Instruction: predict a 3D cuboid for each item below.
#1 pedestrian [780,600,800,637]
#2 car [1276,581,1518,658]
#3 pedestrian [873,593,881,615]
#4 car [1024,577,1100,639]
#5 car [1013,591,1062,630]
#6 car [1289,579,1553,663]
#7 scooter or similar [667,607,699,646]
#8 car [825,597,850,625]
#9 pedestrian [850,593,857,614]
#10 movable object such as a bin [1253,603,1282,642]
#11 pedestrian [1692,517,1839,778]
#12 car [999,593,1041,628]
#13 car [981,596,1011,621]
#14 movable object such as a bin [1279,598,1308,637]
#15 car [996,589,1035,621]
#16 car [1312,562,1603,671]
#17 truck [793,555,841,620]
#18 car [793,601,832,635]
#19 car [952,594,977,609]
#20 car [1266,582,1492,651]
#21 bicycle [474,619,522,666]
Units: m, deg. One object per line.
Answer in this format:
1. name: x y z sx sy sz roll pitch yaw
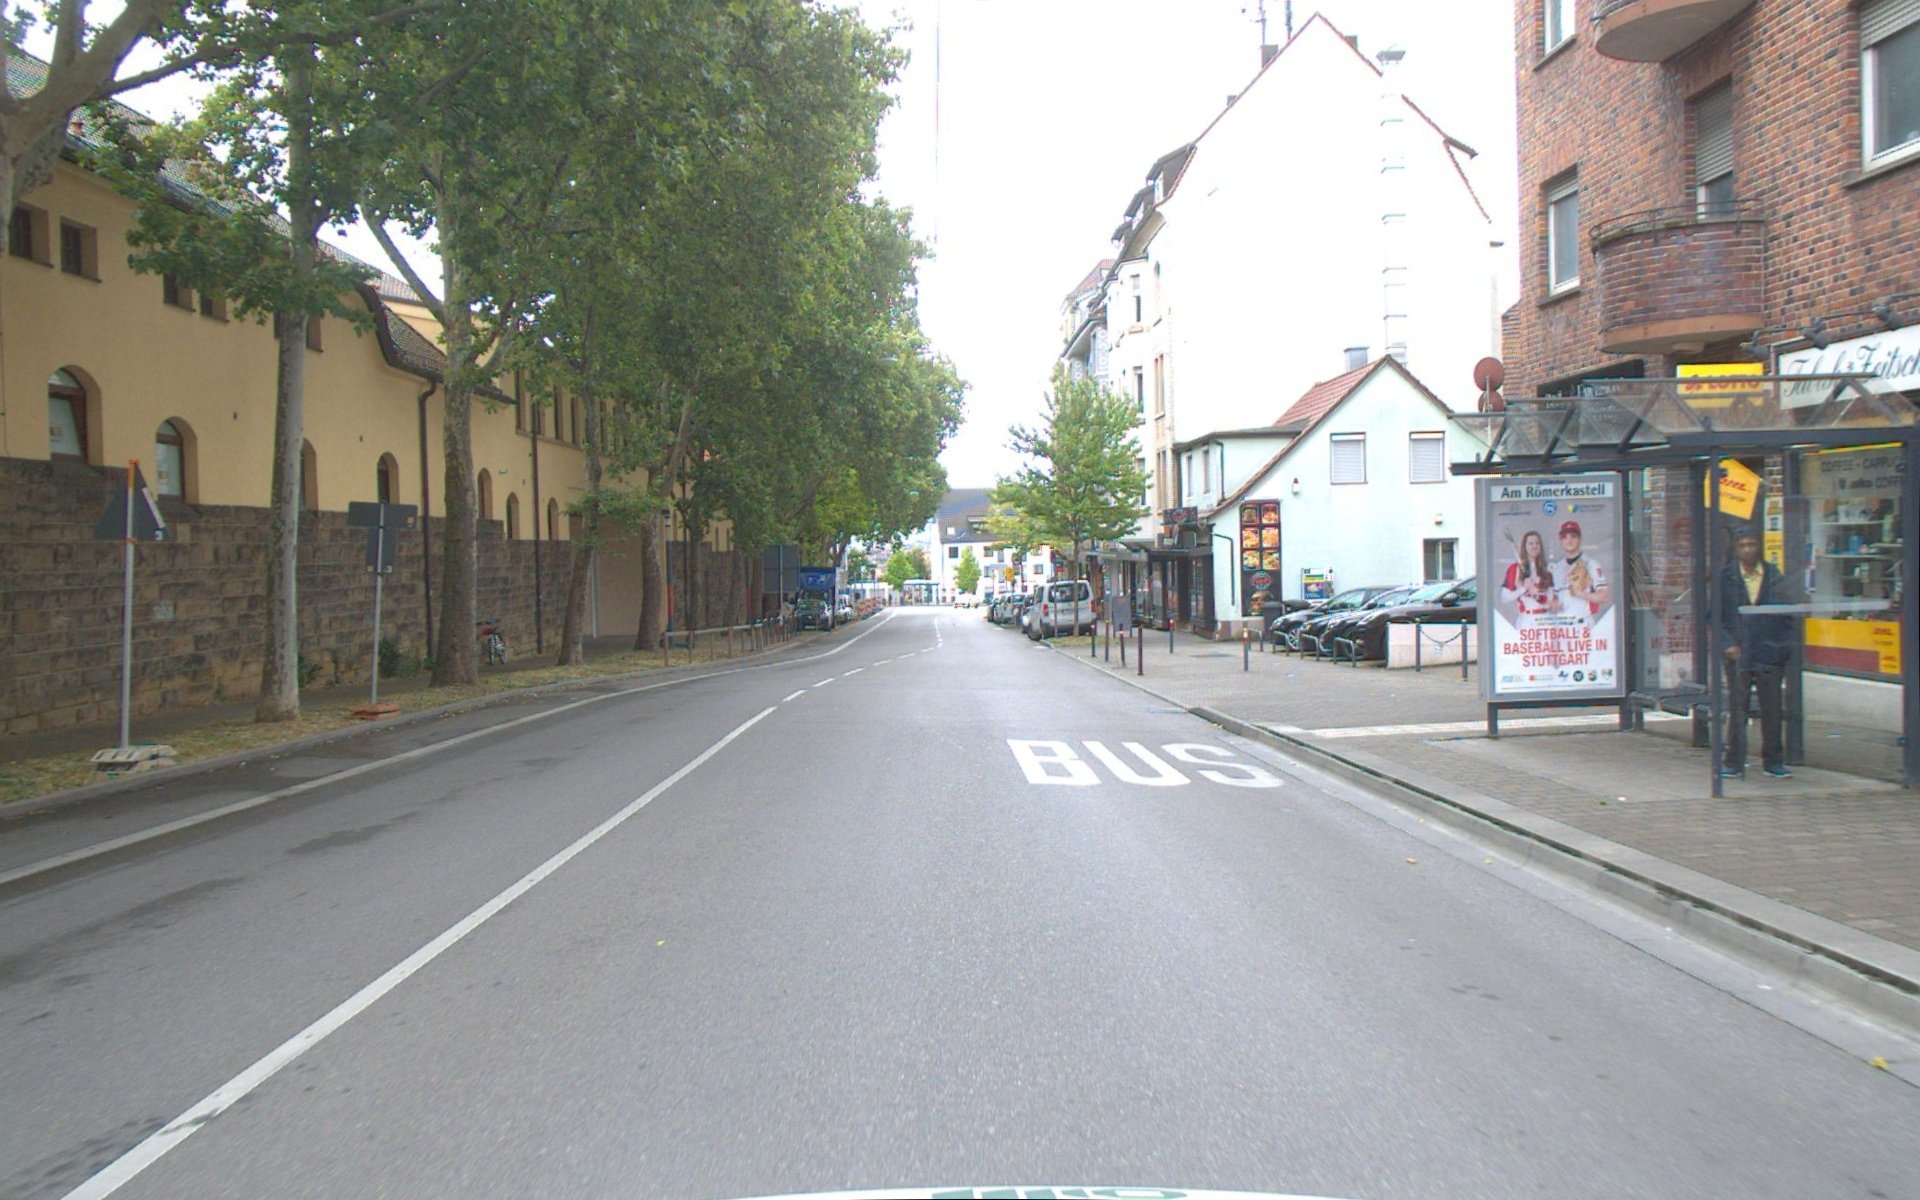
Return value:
1. pedestrian: -7.435 0.812 72.216 0.664 1.563 0.606 -1 0 -27
2. car: 9.450 0.425 35.782 4.804 1.519 1.854 -1 0 24
3. pedestrian: -7.821 0.327 155.777 0.620 2.049 0.784 -1 0 0
4. car: 3.456 0.248 56.678 1.954 1.969 4.915 -1 0 -4
5. car: 3.243 0.426 69.868 1.636 1.574 3.754 -1 0 -4
6. car: 9.259 0.428 33.292 4.808 1.567 1.998 -1 0 28
7. scooter or similar: -8.947 0.849 53.404 1.010 1.205 0.490 -1 0 -10
8. car: -7.665 0.672 103.781 1.503 1.667 3.716 -1 0 -4
9. pedestrian: -10.459 0.334 162.225 0.620 2.029 0.784 -1 0 0
10. movable object such as a bin: 8.627 0.621 46.415 0.684 1.059 0.645 -1 0 0
11. pedestrian: 5.638 0.320 11.609 0.656 1.758 0.764 -1 0 4
12. car: 2.876 0.486 80.049 1.636 1.574 3.754 -1 0 -4
13. car: 2.376 0.550 110.271 1.636 1.574 3.754 -1 0 -4
14. movable object such as a bin: 9.366 0.480 46.472 0.684 1.059 0.645 -1 0 0
15. car: 2.891 0.257 86.507 1.636 1.574 3.754 -1 0 -4
16. car: 9.184 0.310 30.596 4.807 1.702 1.998 -4 0 27
17. truck: -7.961 -0.709 92.507 2.186 3.405 7.447 -1 0 -2
18. car: -7.369 0.899 82.906 1.798 1.605 3.754 -1 0 -4
19. car: 0.493 0.190 175.143 1.824 1.515 3.883 -1 0 14
20. car: 9.725 0.388 38.420 4.806 1.495 1.928 -1 0 26
21. bicycle: -11.700 1.056 41.945 0.584 1.110 2.195 1 0 1
